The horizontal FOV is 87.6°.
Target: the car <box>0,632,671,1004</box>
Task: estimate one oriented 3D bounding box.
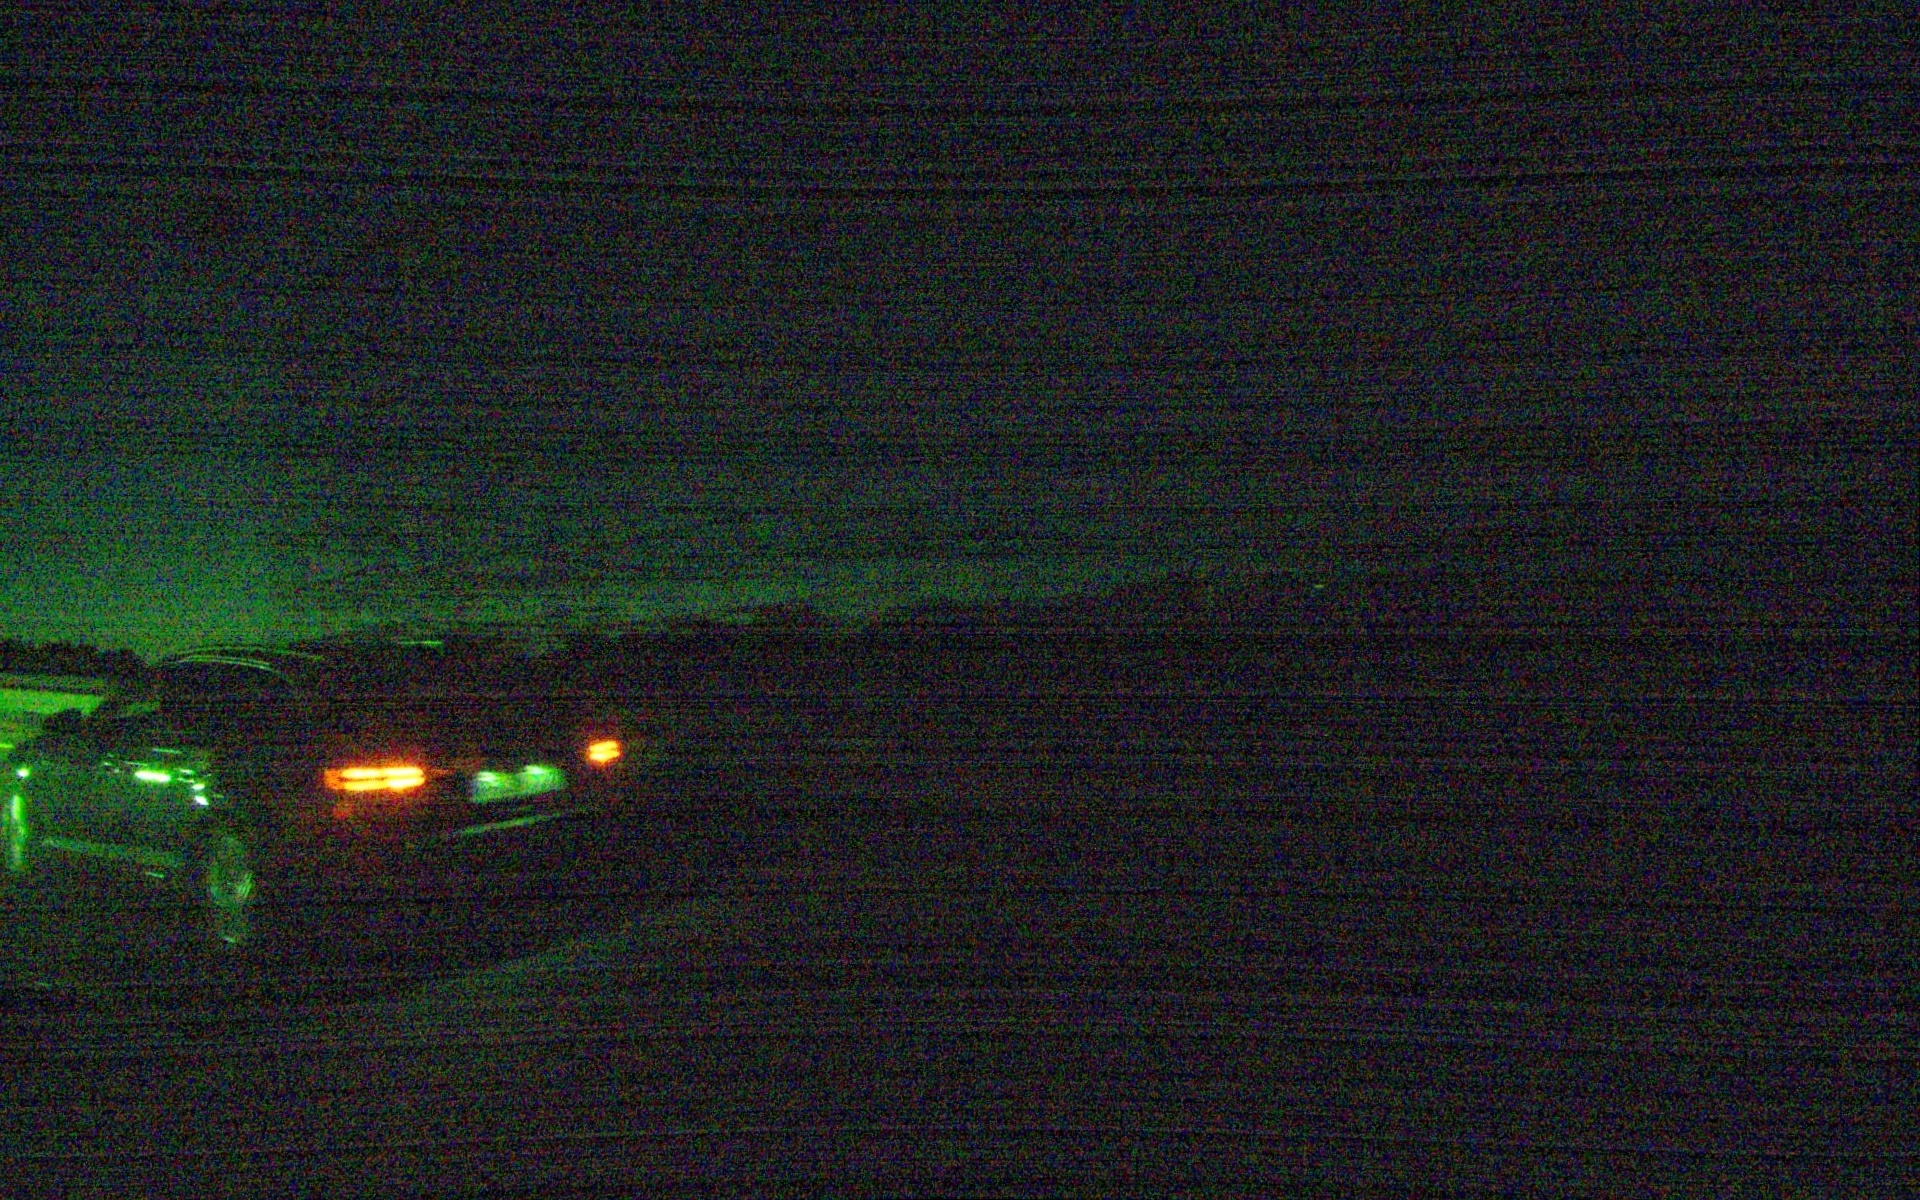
[{"bbox_3d":[-4.111,0.929,5.993,4.803,1.445,1.805,-1,-1,31],"label":"car"}]
